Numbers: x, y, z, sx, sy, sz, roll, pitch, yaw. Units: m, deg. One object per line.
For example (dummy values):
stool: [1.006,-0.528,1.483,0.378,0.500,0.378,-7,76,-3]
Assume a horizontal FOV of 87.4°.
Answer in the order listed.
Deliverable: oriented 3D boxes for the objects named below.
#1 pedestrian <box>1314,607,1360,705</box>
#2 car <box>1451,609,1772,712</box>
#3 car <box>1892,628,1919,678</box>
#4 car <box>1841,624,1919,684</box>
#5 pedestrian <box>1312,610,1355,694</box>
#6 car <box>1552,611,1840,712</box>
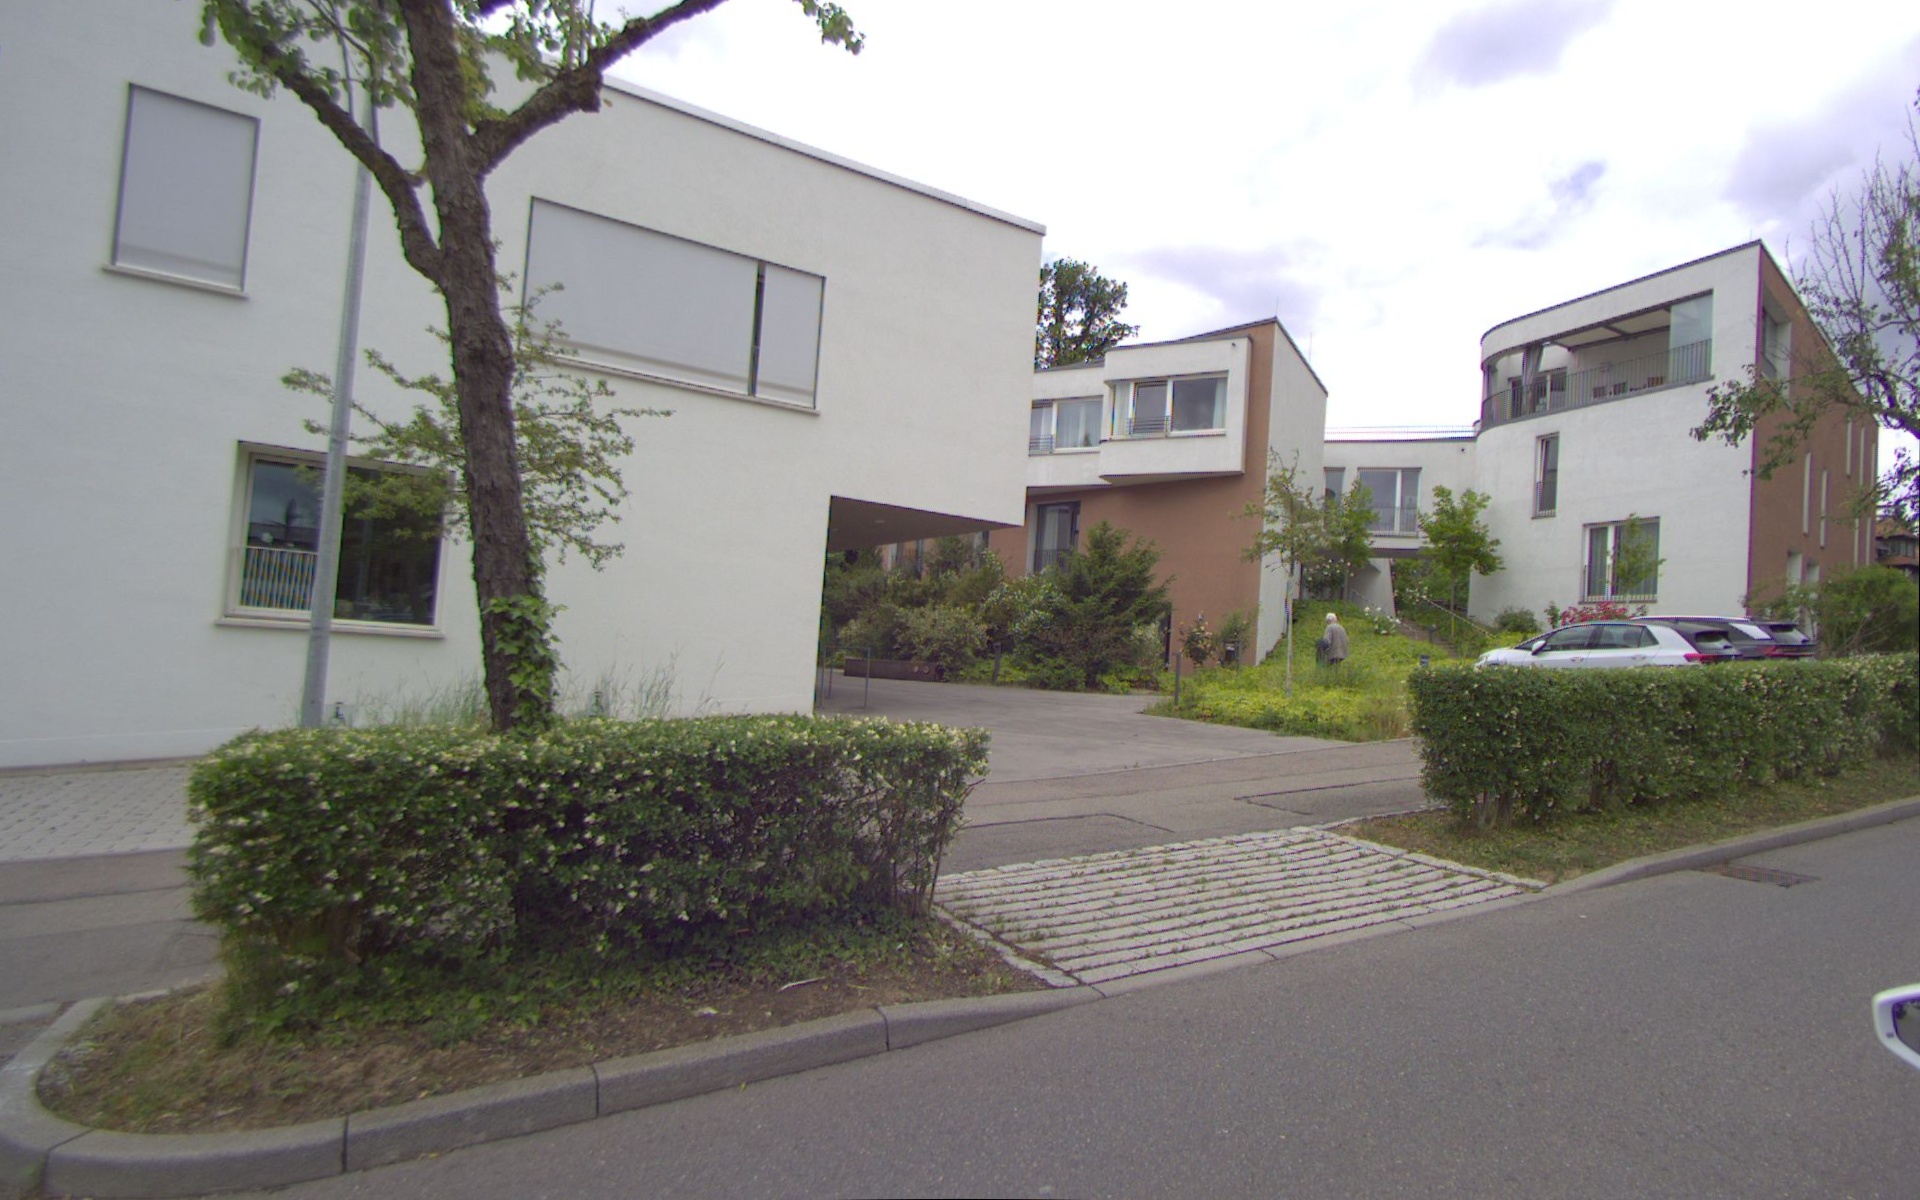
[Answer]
pedestrian: [6.696,0.984,17.846,0.513,1.704,0.586,1,-1,-29]
car: [11.393,1.012,17.893,2.043,1.587,4.365,1,-2,-31]
car: [30.520,1.573,29.943,1.715,1.483,3.735,0,-2,-35]
car: [27.286,1.507,27.596,1.992,1.644,4.237,3,-3,-32]
pedestrian: [7.530,1.048,20.246,0.558,1.662,0.591,1,-2,-29]
car: [13.761,1.060,19.024,1.984,1.675,3.970,1,-1,-29]
